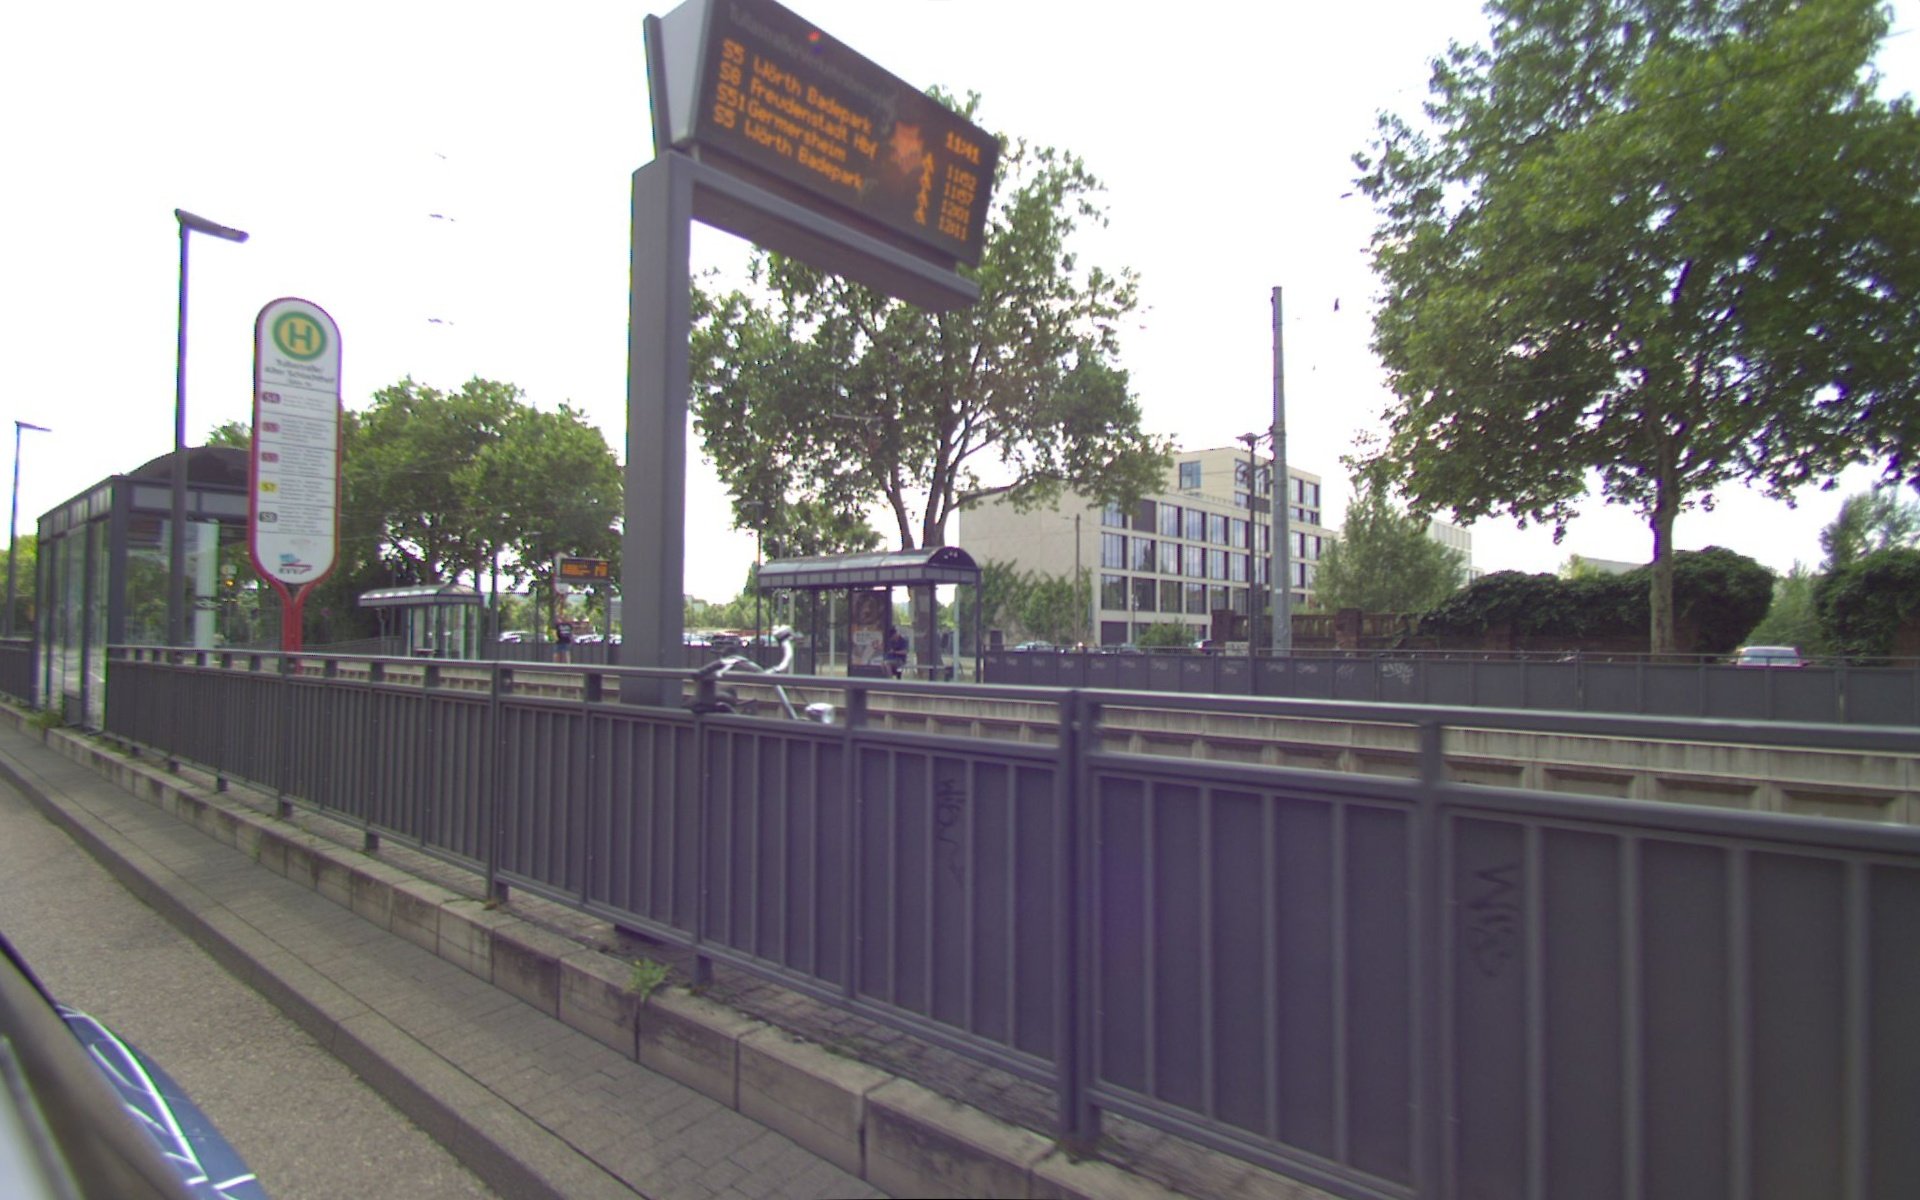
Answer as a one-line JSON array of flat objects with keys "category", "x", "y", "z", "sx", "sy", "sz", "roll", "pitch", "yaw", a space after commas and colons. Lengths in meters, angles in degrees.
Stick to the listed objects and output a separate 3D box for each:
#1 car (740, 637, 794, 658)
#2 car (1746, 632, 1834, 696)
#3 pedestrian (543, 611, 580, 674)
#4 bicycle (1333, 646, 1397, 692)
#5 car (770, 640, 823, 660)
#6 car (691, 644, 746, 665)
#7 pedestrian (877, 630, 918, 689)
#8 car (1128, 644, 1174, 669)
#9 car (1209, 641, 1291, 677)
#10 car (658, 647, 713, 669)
[{"category": "car", "x": -14.542, "y": 3.596, "z": 76.045, "sx": 4.105, "sy": 1.494, "sz": 1.860, "roll": -2, "pitch": -5, "yaw": 41}, {"category": "car", "x": 25.115, "y": 1.941, "z": 30.598, "sx": 1.899, "sy": 1.810, "sz": 4.094, "roll": -2, "pitch": -5, "yaw": 40}, {"category": "pedestrian", "x": -11.915, "y": 1.258, "z": 30.290, "sx": 0.864, "sy": 1.859, "sz": 0.699, "roll": -2, "pitch": -3, "yaw": 41}, {"category": "bicycle", "x": 12.452, "y": 2.087, "z": 31.068, "sx": 3.003, "sy": 1.176, "sz": 0.635, "roll": -1, "pitch": -1, "yaw": -44}, {"category": "car", "x": -12.628, "y": 3.835, "z": 78.046, "sx": 4.105, "sy": 1.494, "sz": 1.860, "roll": -2, "pitch": -5, "yaw": 41}, {"category": "car", "x": -17.254, "y": 3.888, "z": 72.198, "sx": 3.998, "sy": 1.487, "sz": 1.779, "roll": -2, "pitch": -4, "yaw": 41}, {"category": "pedestrian", "x": -1.395, "y": 1.325, "z": 22.548, "sx": 0.768, "sy": 1.279, "sz": 0.546, "roll": -3, "pitch": -4, "yaw": 43}, {"category": "car", "x": 14.944, "y": 4.413, "z": 79.243, "sx": 1.759, "sy": 1.828, "sz": 3.990, "roll": -2, "pitch": -5, "yaw": 41}, {"category": "car", "x": 17.208, "y": 3.501, "z": 60.088, "sx": 4.362, "sy": 2.029, "sz": 2.006, "roll": 3, "pitch": -4, "yaw": -21}, {"category": "car", "x": -19.023, "y": 4.024, "z": 70.137, "sx": 3.998, "sy": 1.487, "sz": 1.779, "roll": -2, "pitch": -4, "yaw": 41}]
